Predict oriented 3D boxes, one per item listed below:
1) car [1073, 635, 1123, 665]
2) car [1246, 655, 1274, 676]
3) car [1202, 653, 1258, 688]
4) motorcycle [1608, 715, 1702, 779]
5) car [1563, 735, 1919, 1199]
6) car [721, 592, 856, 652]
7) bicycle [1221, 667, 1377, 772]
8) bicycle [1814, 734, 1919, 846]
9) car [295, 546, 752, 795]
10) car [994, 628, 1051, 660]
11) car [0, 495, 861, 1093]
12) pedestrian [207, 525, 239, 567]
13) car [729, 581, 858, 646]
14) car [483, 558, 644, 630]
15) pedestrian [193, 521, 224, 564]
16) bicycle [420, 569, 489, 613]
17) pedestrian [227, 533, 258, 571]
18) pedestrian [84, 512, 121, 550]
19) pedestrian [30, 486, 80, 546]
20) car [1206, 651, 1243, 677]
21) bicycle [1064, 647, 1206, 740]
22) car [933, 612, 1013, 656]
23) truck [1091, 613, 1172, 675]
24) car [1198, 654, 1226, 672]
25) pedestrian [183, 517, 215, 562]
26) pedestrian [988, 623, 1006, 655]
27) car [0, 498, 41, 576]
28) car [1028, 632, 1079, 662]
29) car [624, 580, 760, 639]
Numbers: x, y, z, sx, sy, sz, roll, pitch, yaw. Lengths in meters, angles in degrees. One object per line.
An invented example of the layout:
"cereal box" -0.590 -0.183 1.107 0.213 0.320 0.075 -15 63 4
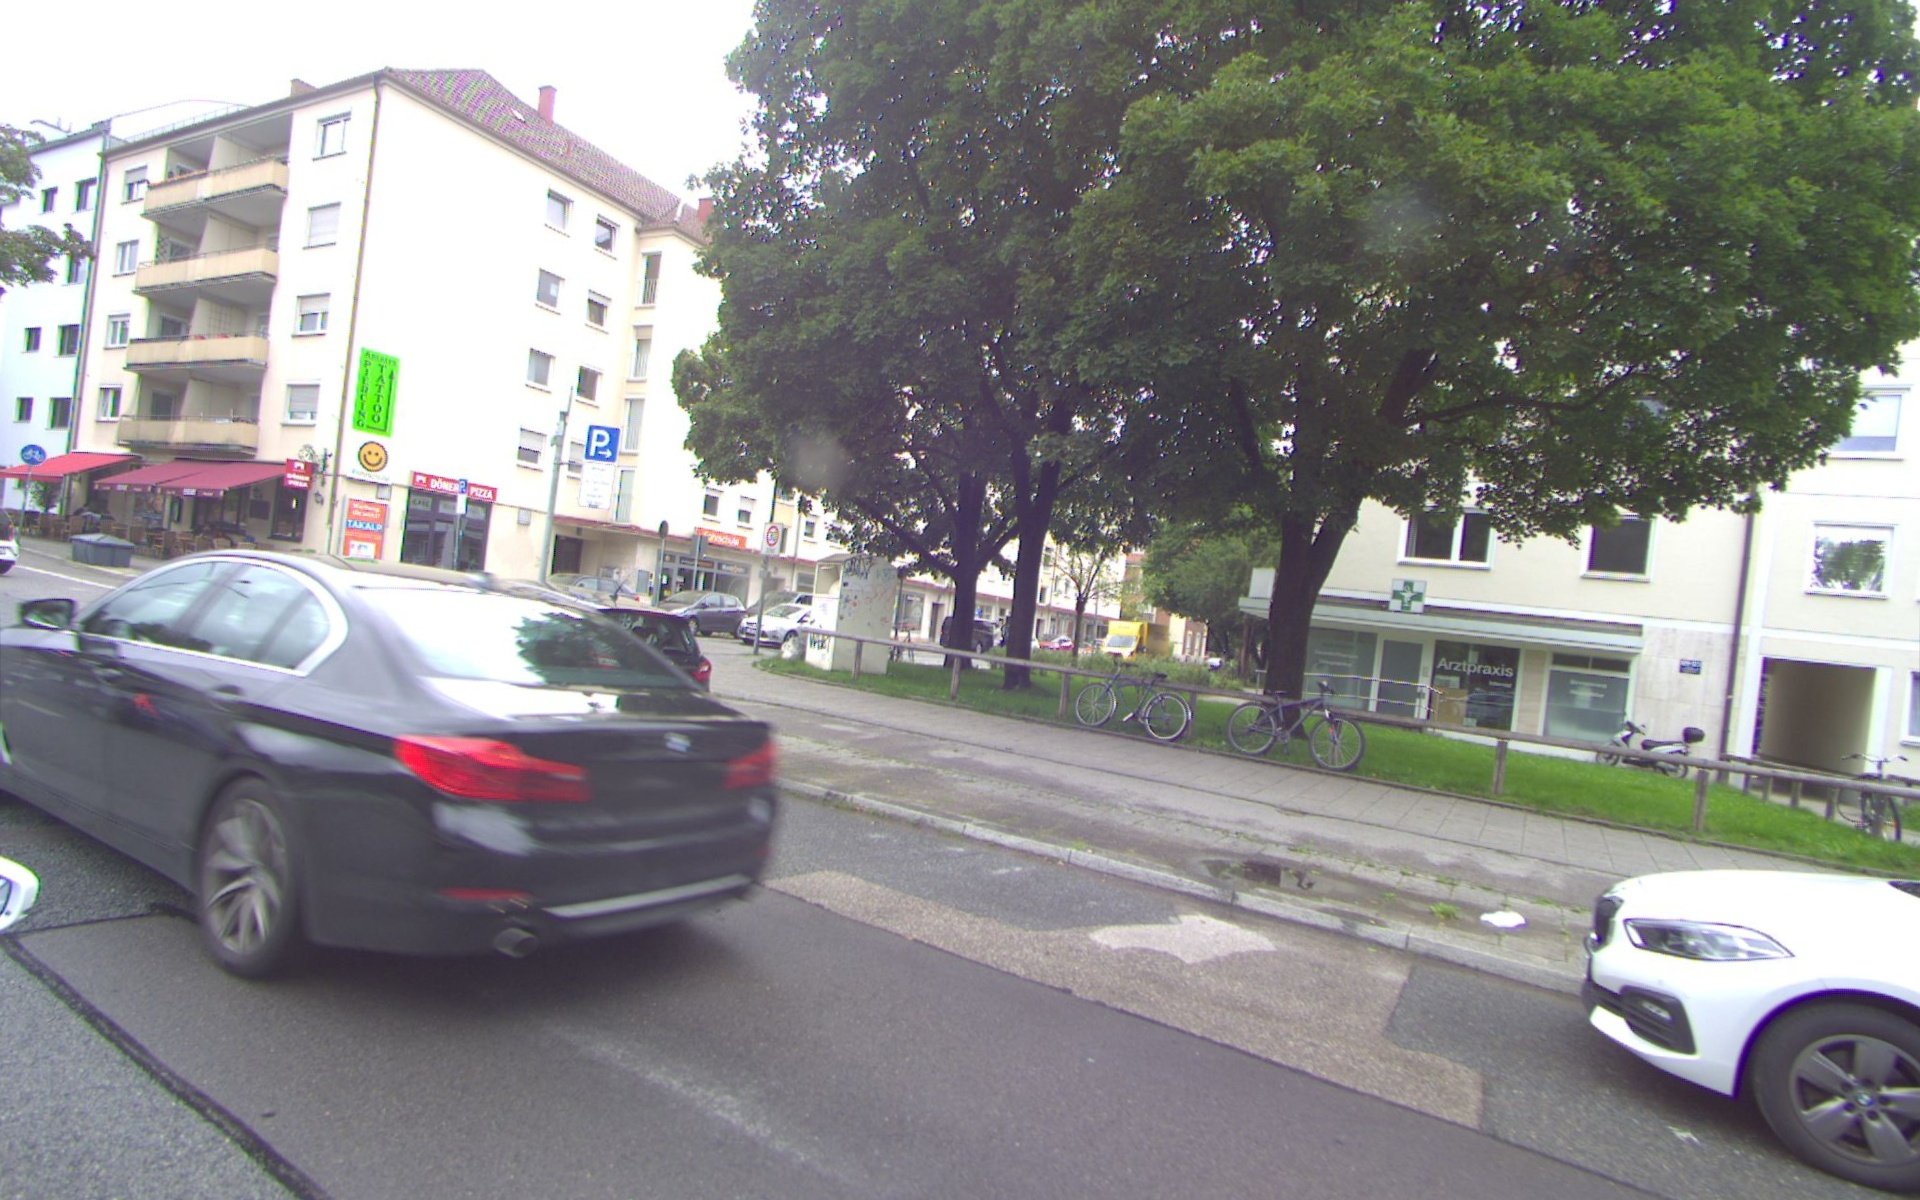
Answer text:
"car" 8.255 2.993 59.952 1.573 1.459 3.764 7 -1 29
"car" 27.737 6.101 92.977 1.573 1.638 3.764 7 -1 29
"car" 13.458 3.540 50.083 1.769 1.459 3.472 7 -1 29
"motorcycle" 15.609 3.292 22.641 1.595 1.133 0.605 7 0 32
"car" 4.804 1.585 3.761 4.216 1.452 1.826 7 -3 31
"car" -5.448 0.761 32.517 1.966 1.459 4.217 7 -1 30
"bicycle" 4.332 1.505 12.910 1.738 1.067 0.470 6 -1 30
"bicycle" 10.954 2.228 11.943 0.652 1.080 2.032 7 -1 26
"car" -3.960 0.532 8.974 3.889 1.494 1.647 7 -1 31
"car" 3.555 2.497 56.704 1.573 1.459 3.764 7 -1 29
"car" -2.945 0.498 4.763 4.612 1.493 1.826 7 -3 31
"pedestrian" -23.165 -1.707 31.625 0.479 1.229 0.539 7 0 31
"car" -6.231 0.583 38.261 1.966 1.907 4.994 7 -1 29
"car" -11.174 -0.136 28.599 1.701 1.537 3.934 7 -1 29
"pedestrian" -24.091 -1.852 32.248 0.478 1.283 0.539 7 0 30
"bicycle" -13.953 -0.247 27.802 0.545 1.023 1.541 7 -1 34
"pedestrian" -22.027 -1.484 30.868 0.479 1.066 0.539 7 0 31
"pedestrian" -30.163 -2.429 35.380 0.636 1.177 0.745 7 0 31
"pedestrian" -31.679 -2.930 35.230 0.747 1.952 0.871 7 0 15
"car" 19.584 4.755 74.345 1.573 1.638 3.764 7 -1 29
"bicycle" 2.446 1.296 14.167 1.822 1.027 0.448 7 0 32
"car" 0.730 1.808 51.780 2.117 1.806 4.999 7 -1 24
"truck" 9.286 2.452 53.905 2.236 2.803 6.765 7 -1 26
"car" 24.468 6.100 97.632 1.573 1.459 3.764 7 -1 29
"pedestrian" -24.871 -1.967 32.887 0.543 1.355 0.539 7 0 30
"pedestrian" 1.891 2.006 51.260 0.486 1.551 0.733 7 0 30
"car" -20.629 -1.483 19.736 3.374 1.508 1.691 7 -1 -5
"car" 5.695 2.868 60.759 1.573 1.459 3.764 7 -1 29
"car" -8.706 0.351 32.970 1.966 1.459 3.996 7 -1 29
